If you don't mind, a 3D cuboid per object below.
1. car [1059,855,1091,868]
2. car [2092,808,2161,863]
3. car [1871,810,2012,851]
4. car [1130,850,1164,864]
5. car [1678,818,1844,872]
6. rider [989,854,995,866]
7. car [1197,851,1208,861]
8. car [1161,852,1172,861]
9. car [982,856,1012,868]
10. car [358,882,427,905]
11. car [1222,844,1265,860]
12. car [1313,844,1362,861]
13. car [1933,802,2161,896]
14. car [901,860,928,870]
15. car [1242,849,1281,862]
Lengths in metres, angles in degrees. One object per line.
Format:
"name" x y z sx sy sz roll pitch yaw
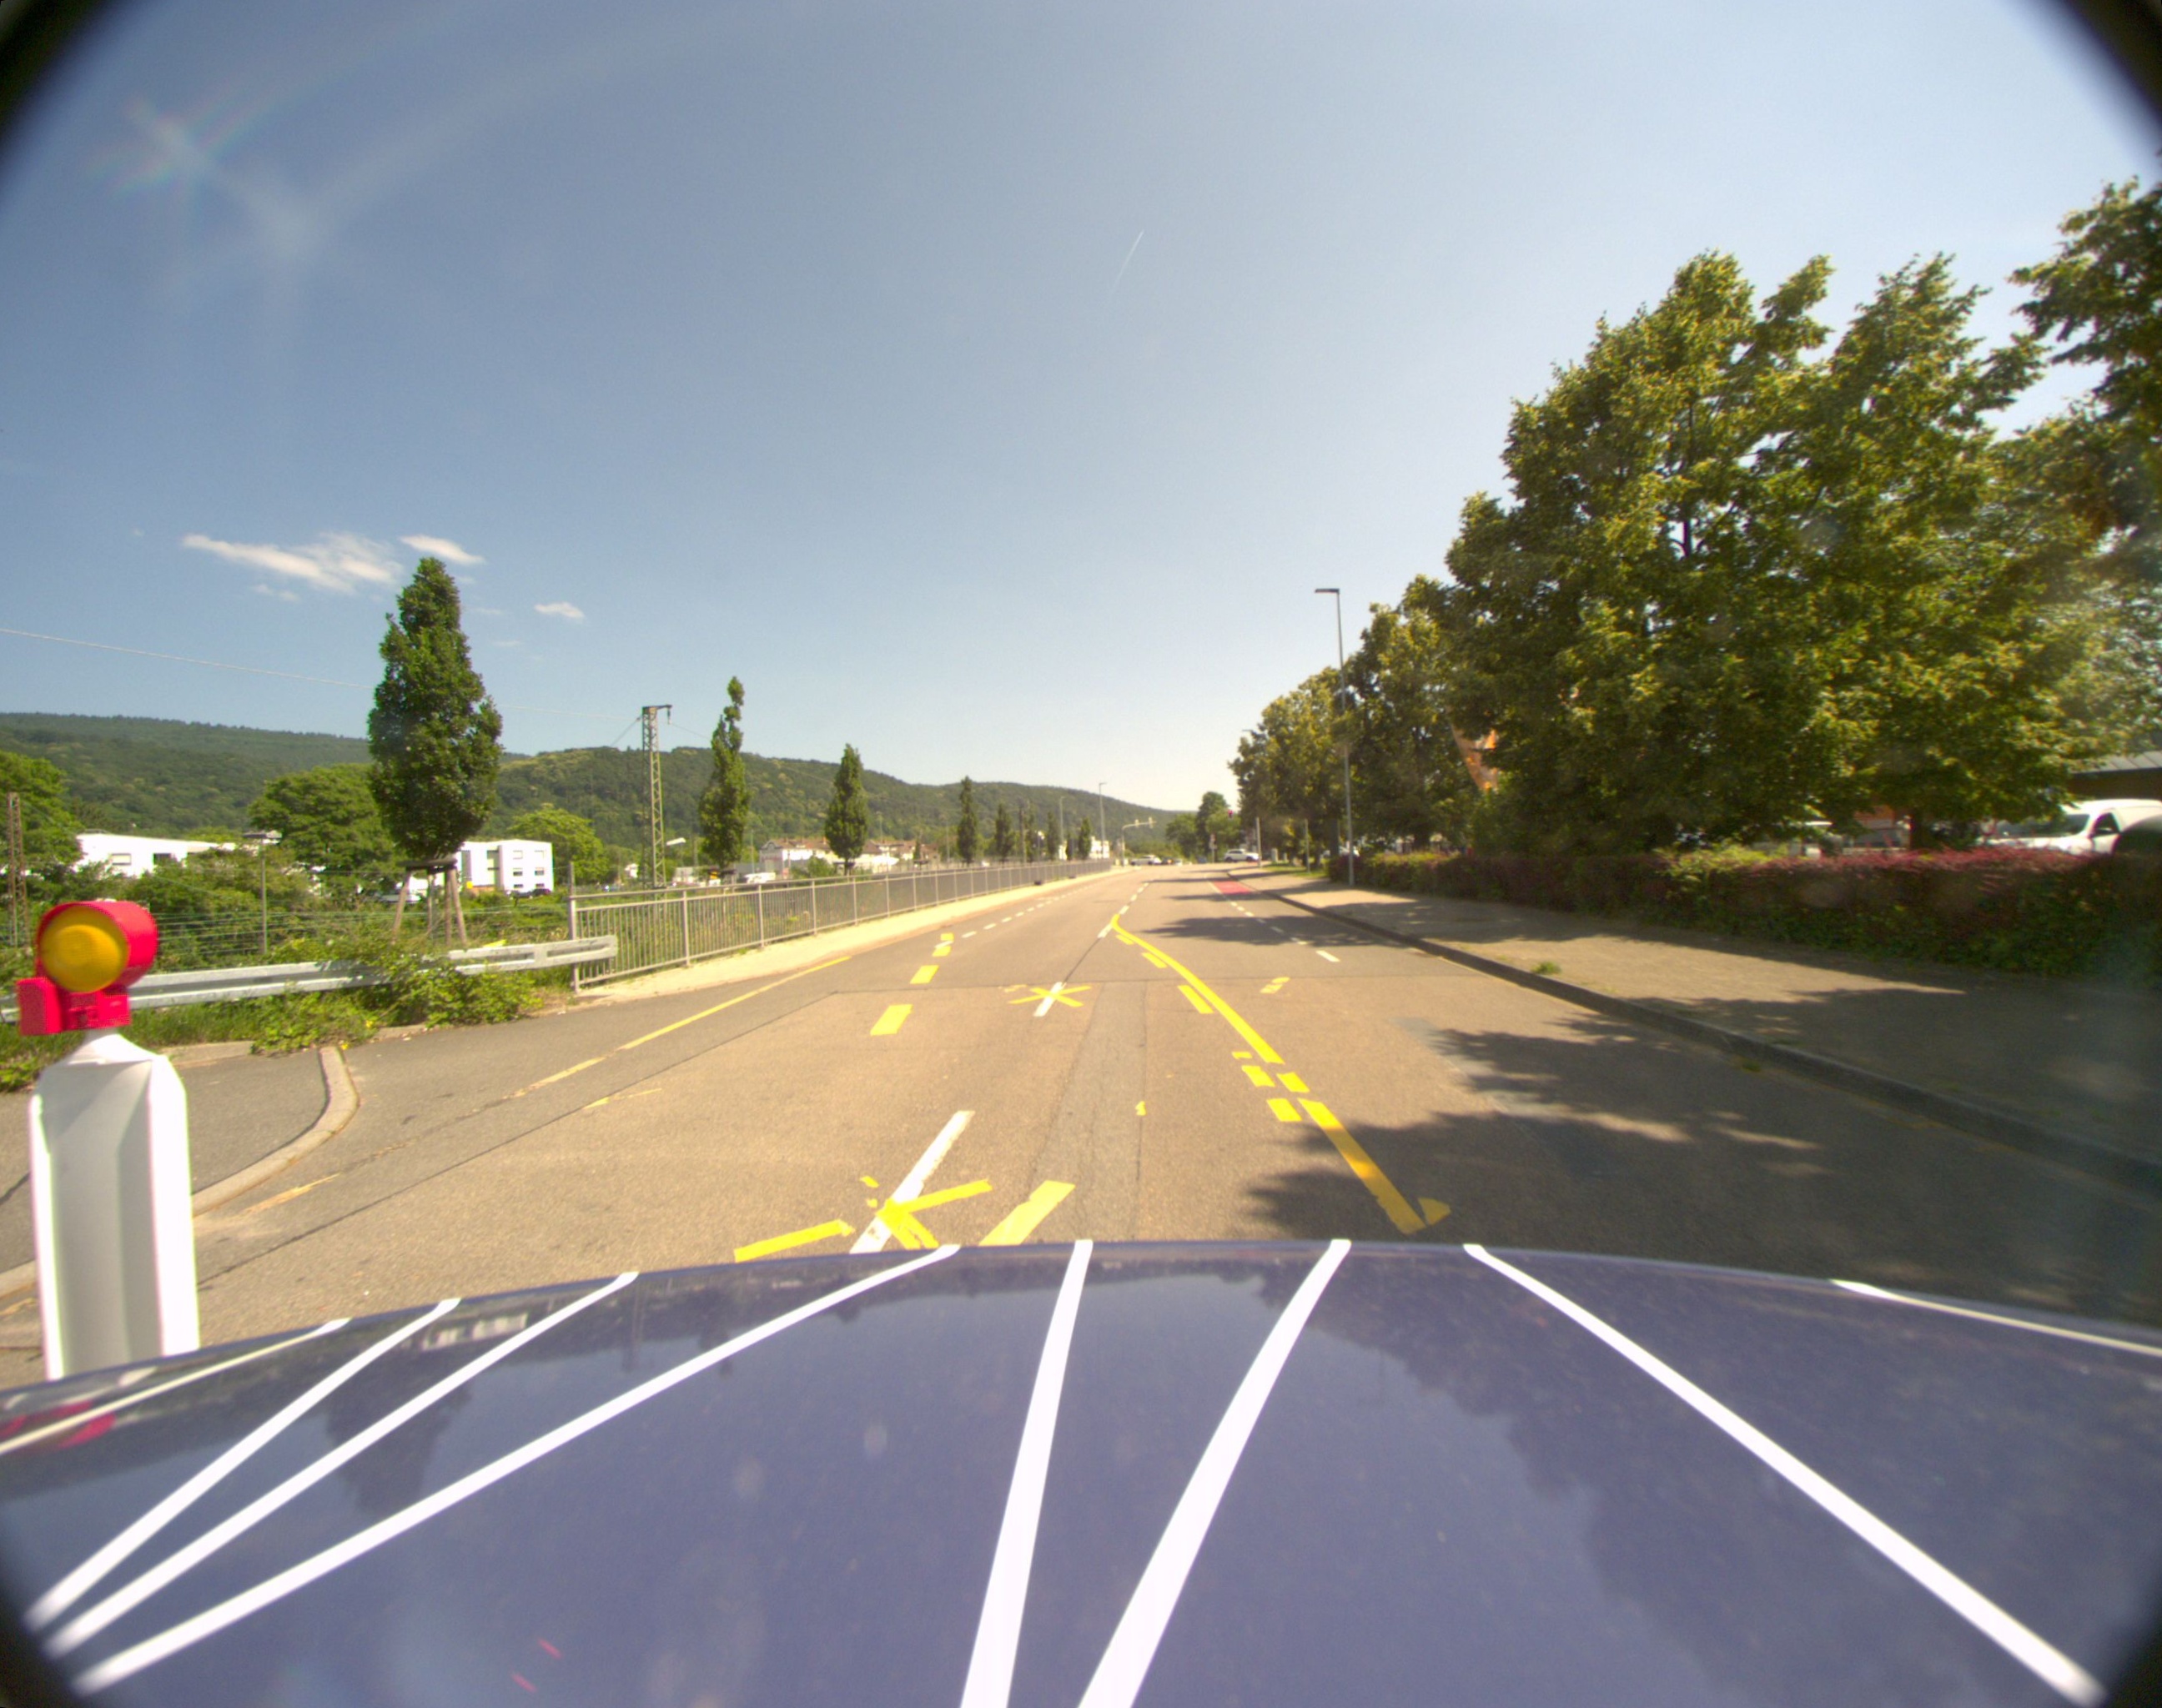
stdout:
"car" -0.920 1.083 112.954 4.359 1.618 1.834 -3 3 34
"car" 33.415 -0.597 22.538 1.669 1.622 3.722 -4 0 -7
"car" 39.509 -1.058 35.041 3.989 1.584 1.931 -3 0 39
"car" 9.172 0.481 105.579 4.359 1.618 1.834 -3 3 34
"car" 25.068 -0.272 28.211 1.761 1.788 4.223 -4 0 -17
"rider" -14.729 0.990 125.543 0.684 1.804 0.549 -3 4 34
"car" 19.863 0.293 124.243 1.609 1.527 3.684 -3 0 5
"car" 13.214 0.342 117.628 1.609 1.248 3.684 -3 0 5
"car" -13.353 1.245 120.651 4.359 1.618 1.834 -3 3 34
"car" -80.694 4.586 89.145 2.132 2.090 5.524 -8 0 17
"car" 19.730 -0.211 92.349 4.569 1.643 1.834 -3 3 37
"car" 28.679 -0.182 84.912 4.755 1.643 1.834 -3 3 38
"car" 21.709 -0.123 16.897 4.355 1.816 1.747 -3 -1 -13
"car" -28.551 1.902 130.415 4.359 1.483 1.834 -3 3 34
"car" 22.911 0.139 96.465 4.359 1.338 1.834 -3 3 34
